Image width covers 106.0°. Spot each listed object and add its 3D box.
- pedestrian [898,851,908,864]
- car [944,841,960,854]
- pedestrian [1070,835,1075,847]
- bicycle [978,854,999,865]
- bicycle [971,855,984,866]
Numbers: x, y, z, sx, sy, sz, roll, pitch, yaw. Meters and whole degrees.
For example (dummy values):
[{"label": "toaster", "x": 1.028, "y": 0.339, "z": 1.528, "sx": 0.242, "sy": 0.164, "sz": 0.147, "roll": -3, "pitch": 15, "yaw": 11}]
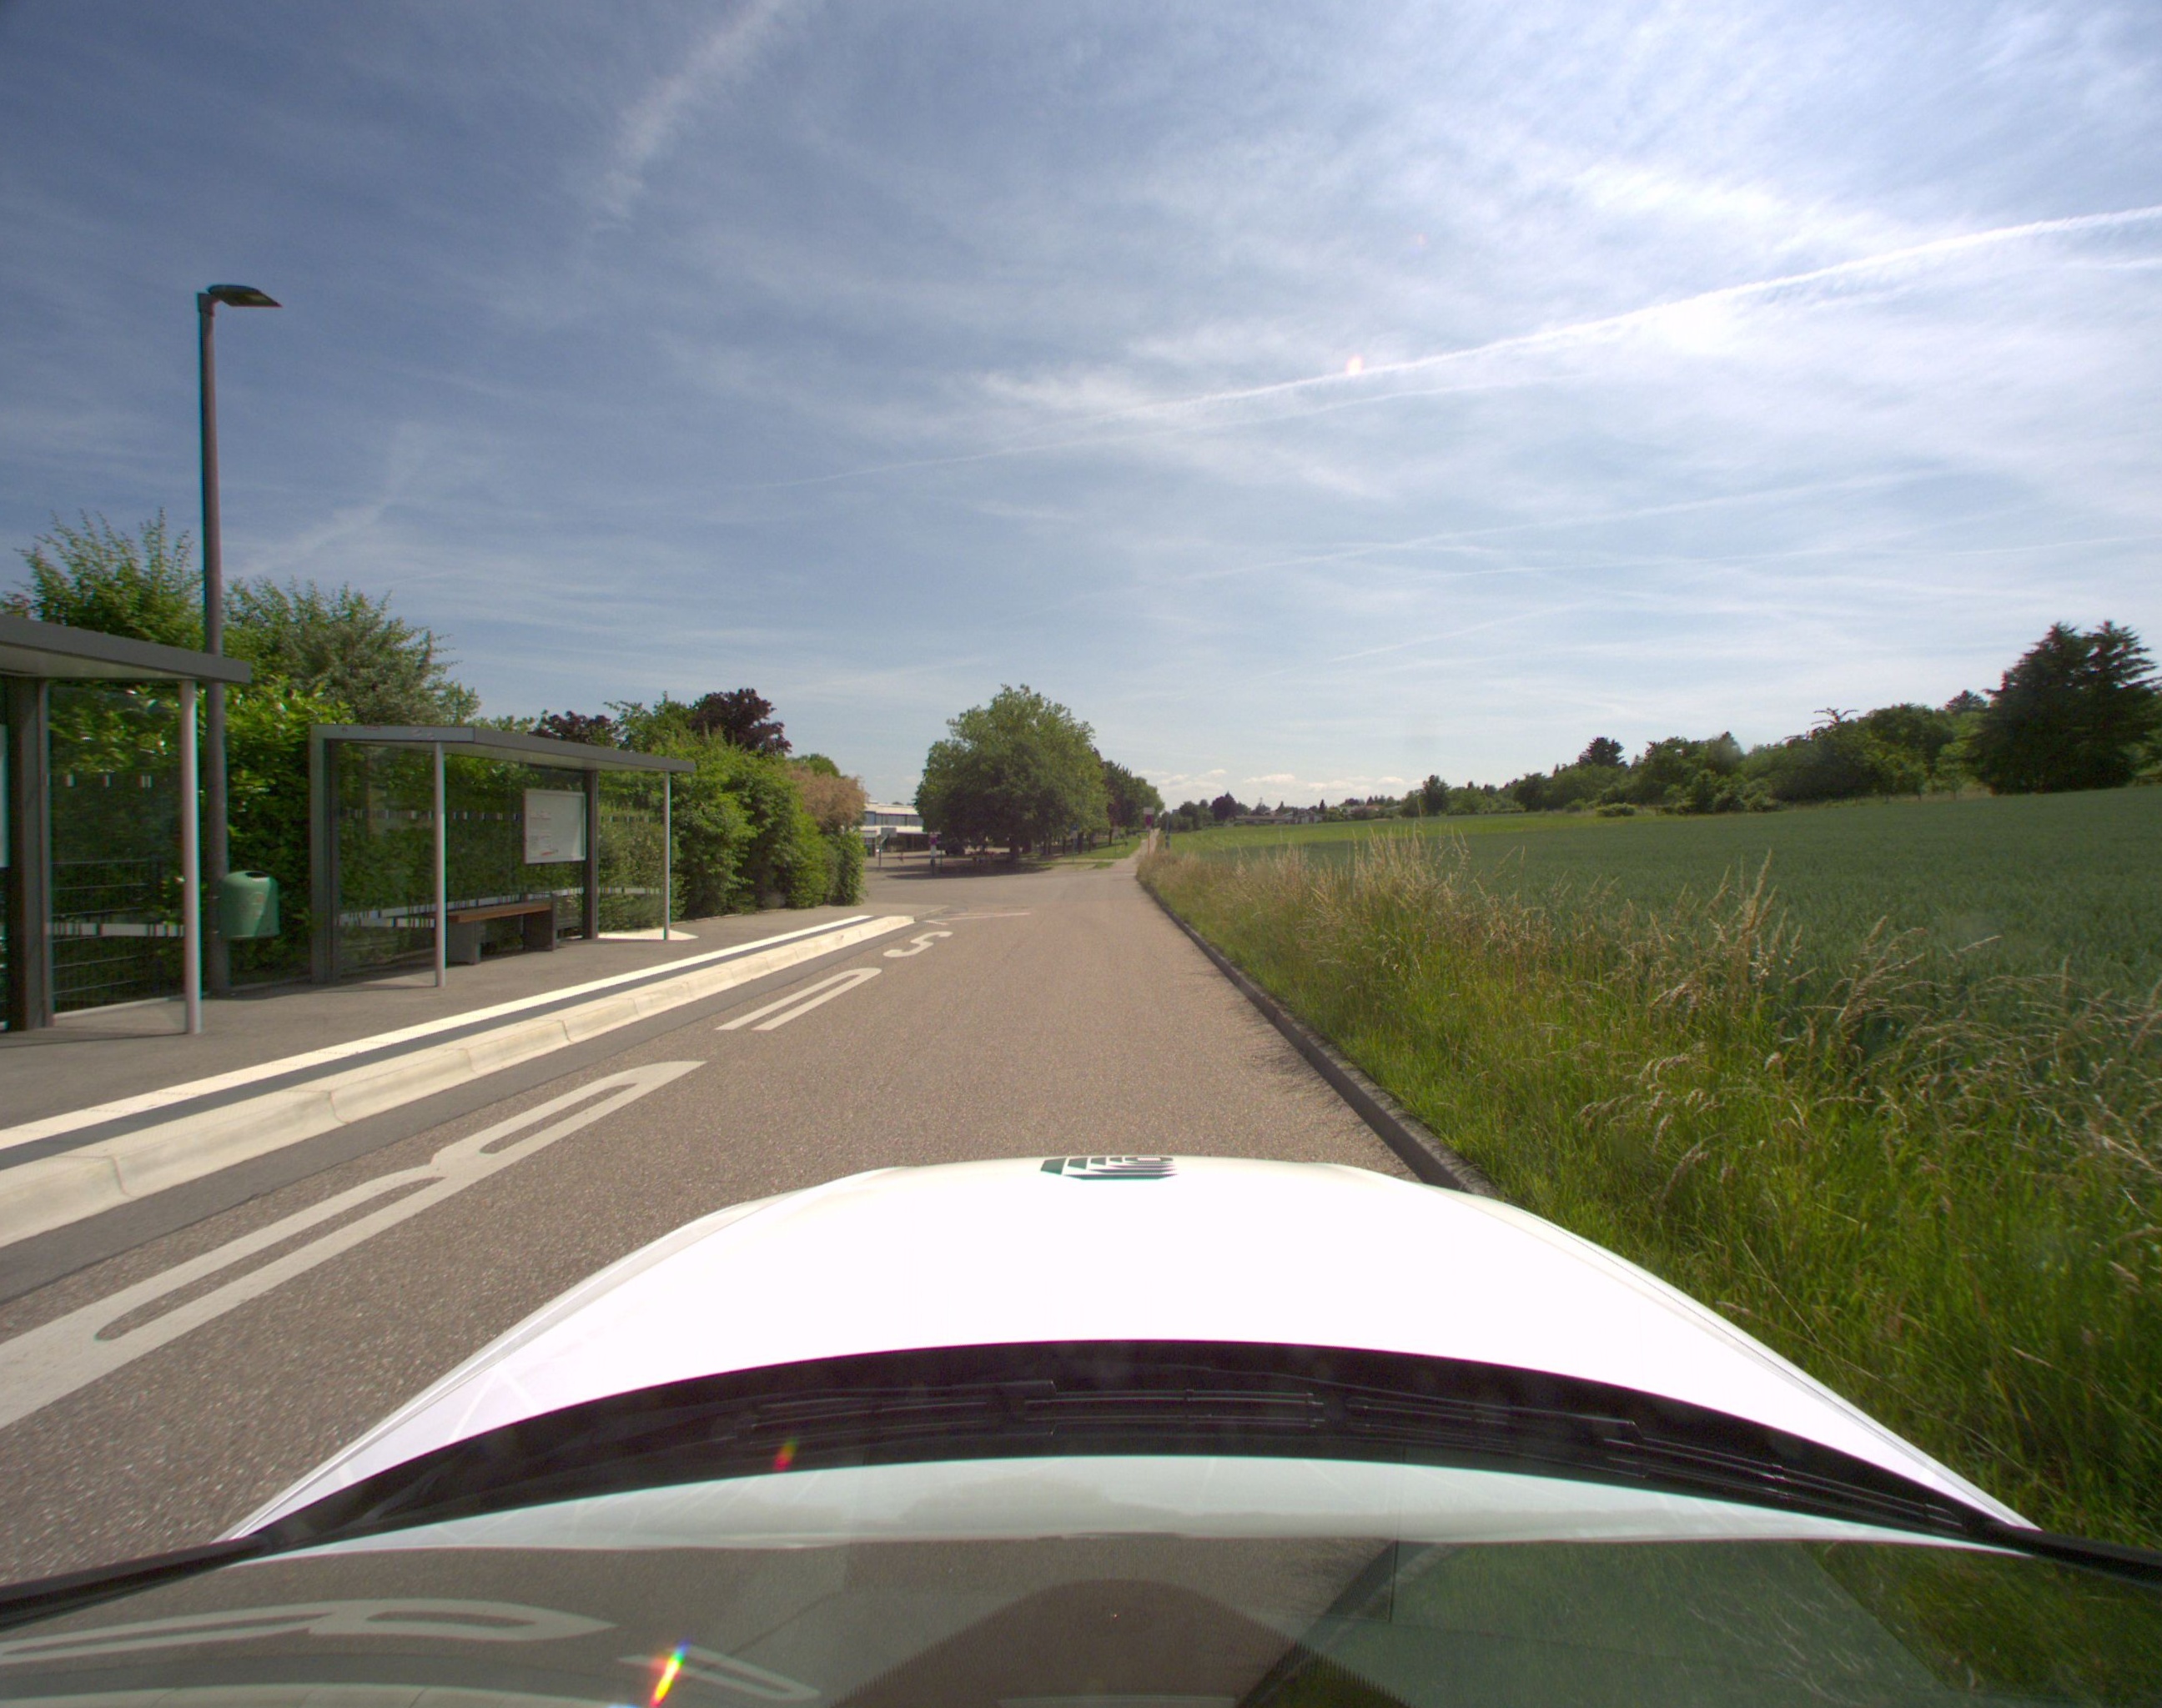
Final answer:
[{"label": "pedestrian", "x": -19.292, "y": 0.383, "z": 88.167, "sx": 1.067, "sy": 1.423, "sz": 0.916, "roll": -1, "pitch": 1, "yaw": -12}, {"label": "car", "x": -19.015, "y": -0.914, "z": 120.417, "sx": 1.684, "sy": 1.834, "sz": 3.414, "roll": -1, "pitch": 1, "yaw": 3}, {"label": "pedestrian", "x": -1.482, "y": -2.286, "z": 140.161, "sx": 0.686, "sy": 2.013, "sz": 0.796, "roll": -1, "pitch": 1, "yaw": -28}, {"label": "bicycle", "x": -9.410, "y": 0.548, "z": 82.834, "sx": 2.058, "sy": 1.039, "sz": 0.571, "roll": -2, "pitch": 1, "yaw": -4}, {"label": "bicycle", "x": -10.271, "y": 0.649, "z": 80.802, "sx": 0.590, "sy": 1.039, "sz": 1.899, "roll": -2, "pitch": 1, "yaw": 12}]
